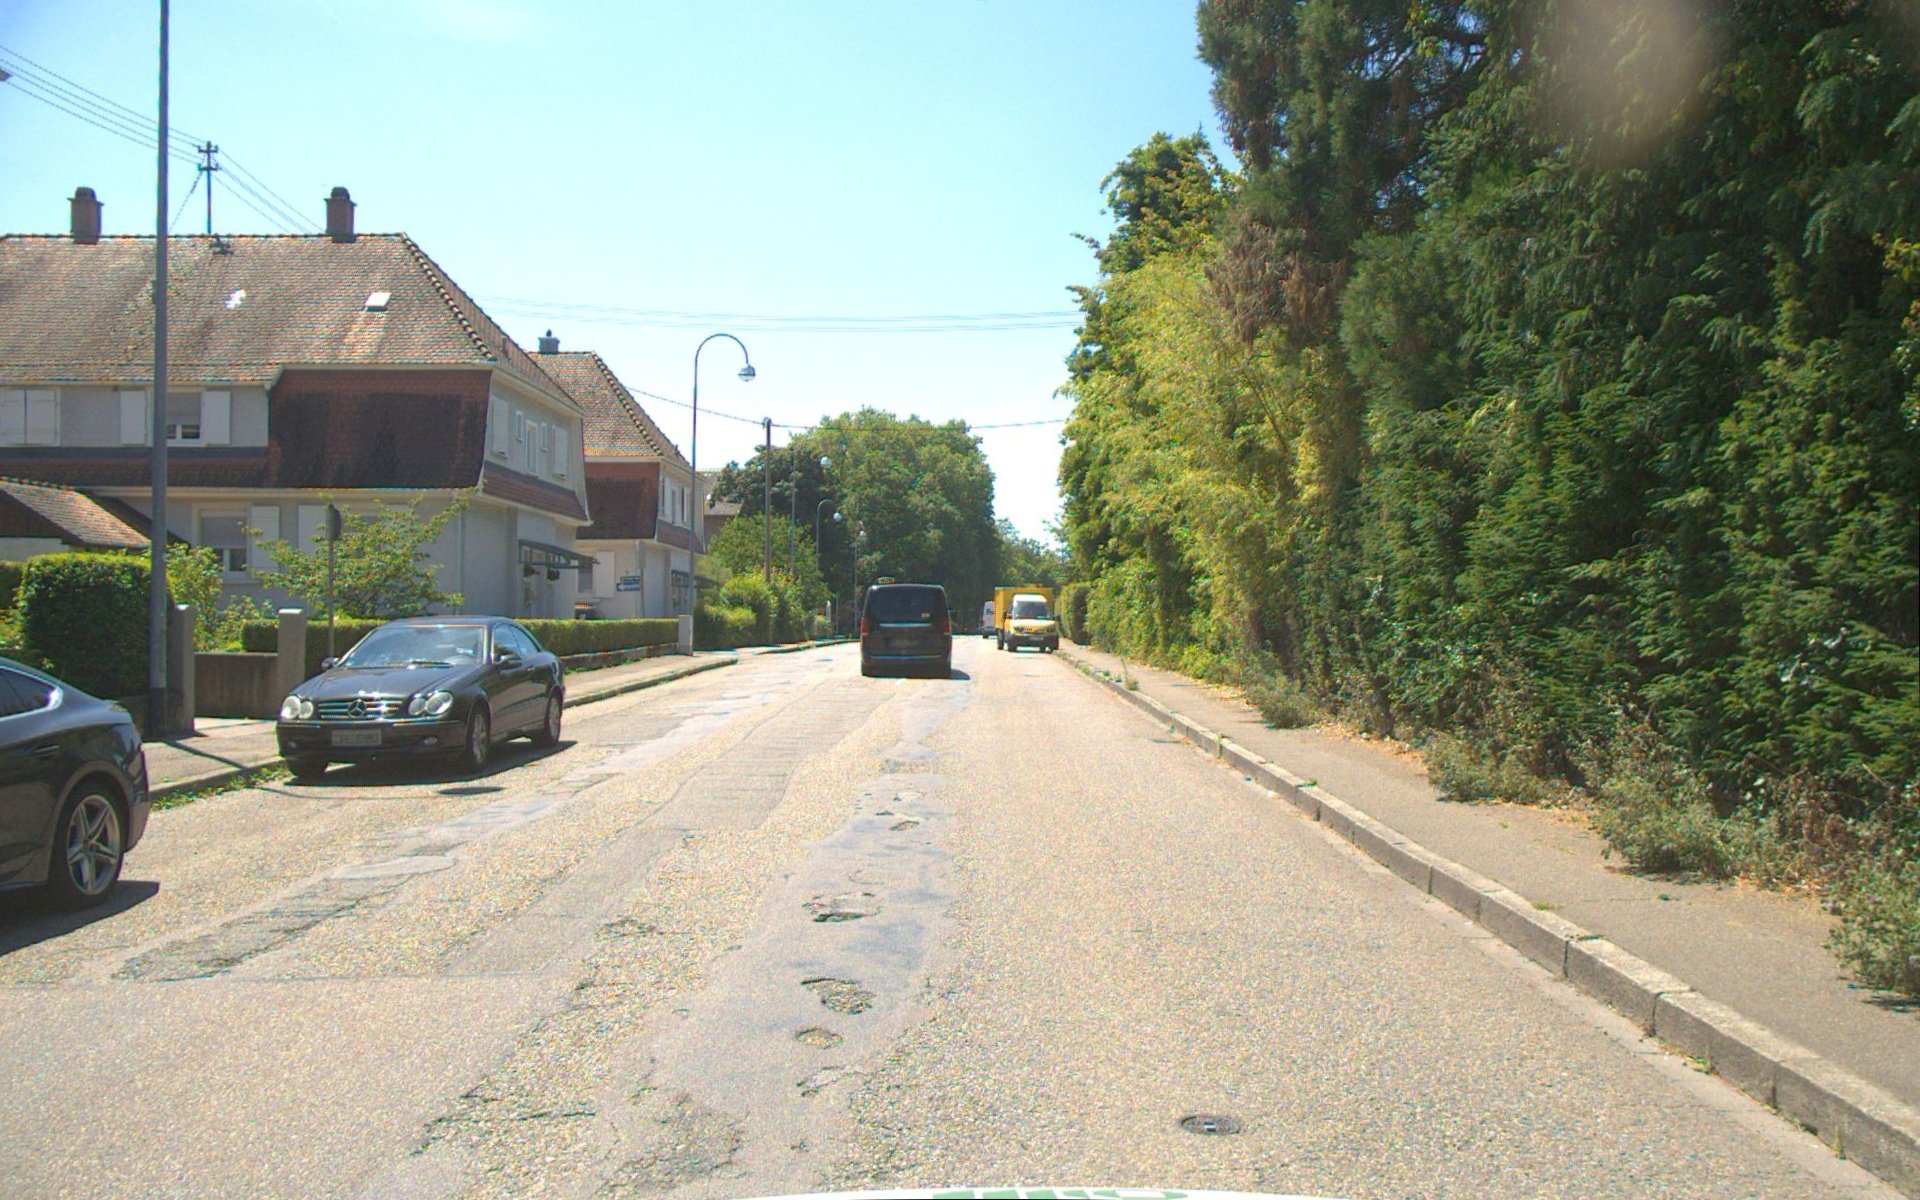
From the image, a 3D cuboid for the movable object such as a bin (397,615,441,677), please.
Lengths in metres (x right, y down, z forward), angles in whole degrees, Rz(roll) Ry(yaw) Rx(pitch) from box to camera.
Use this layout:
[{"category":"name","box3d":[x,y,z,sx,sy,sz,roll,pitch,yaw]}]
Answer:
[{"category":"movable object such as a bin","box3d":[-11.794,0.994,36.068,0.675,1.345,0.919,0,-1,-2]}]

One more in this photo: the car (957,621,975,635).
[{"category":"car","box3d":[0.648,3.144,188.415,1.515,1.474,3.008,2,0,9]}]

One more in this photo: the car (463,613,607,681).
[{"category":"car","box3d":[-12.631,1.380,49.288,3.788,1.938,1.880,-1,0,0]}]

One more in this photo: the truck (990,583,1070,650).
[{"category":"truck","box3d":[2.440,0.599,59.401,2.309,2.298,6.088,0,-1,-3]}]

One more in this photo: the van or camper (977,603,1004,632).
[{"category":"van or camper","box3d":[2.199,1.278,118.887,1.952,2.049,4.000,0,-1,1]}]

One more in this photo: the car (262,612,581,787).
[{"category":"car","box3d":[-5.089,0.862,16.278,1.632,1.410,4.380,-2,0,1]}]

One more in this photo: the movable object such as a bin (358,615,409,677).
[{"category":"movable object such as a bin","box3d":[-12.559,0.997,36.053,0.802,1.345,0.919,0,-1,-2]}]

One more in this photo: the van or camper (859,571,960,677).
[{"category":"van or camper","box3d":[-0.992,0.499,35.016,1.863,2.049,5.270,1,-1,1]}]

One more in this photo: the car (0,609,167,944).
[{"category":"car","box3d":[-5.198,0.809,6.853,1.631,1.519,4.466,0,0,1]}]
